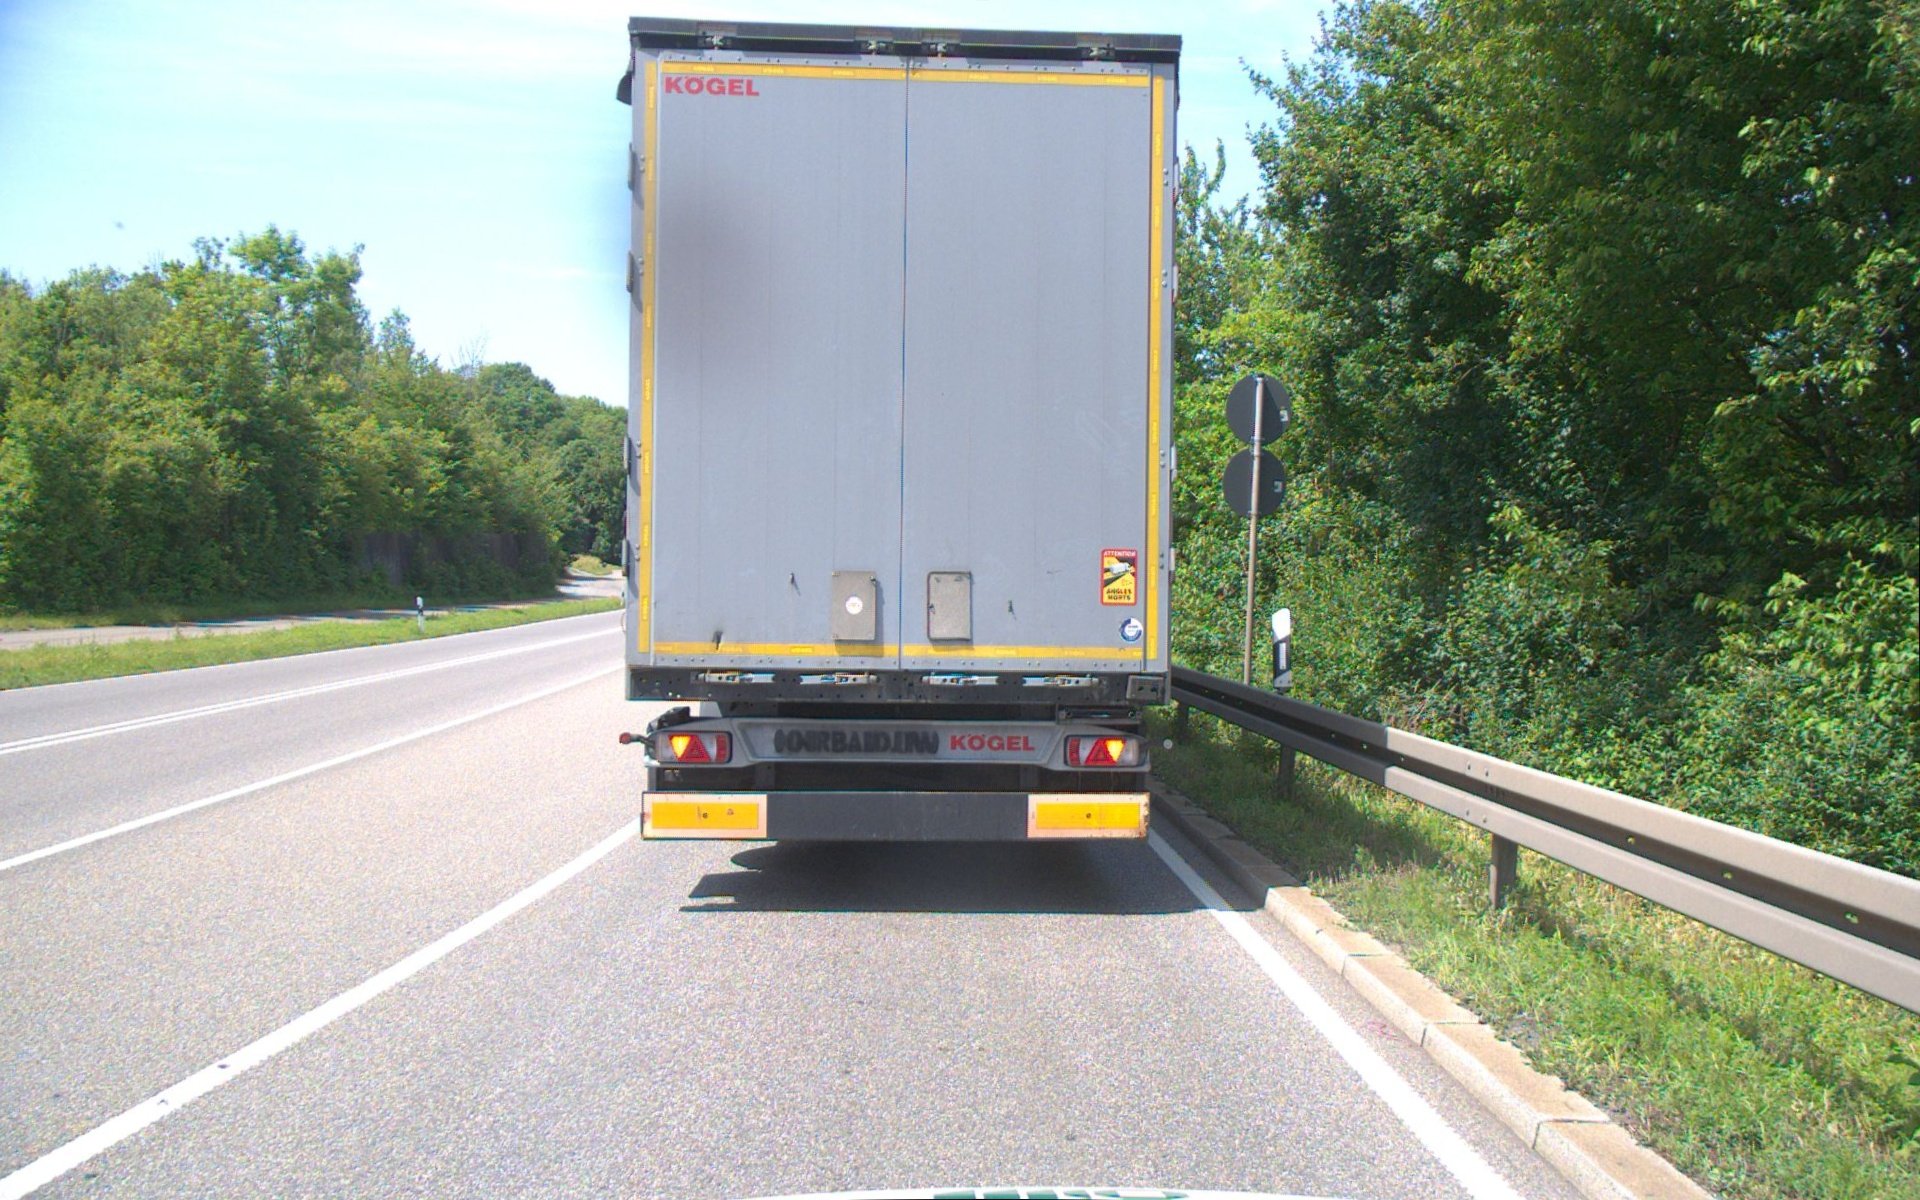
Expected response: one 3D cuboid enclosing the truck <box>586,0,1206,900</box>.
[{"bbox_3d":[-0.433,-0.801,13.255,2.701,4.100,11.920,0,1,-2],"label":"truck"}]
